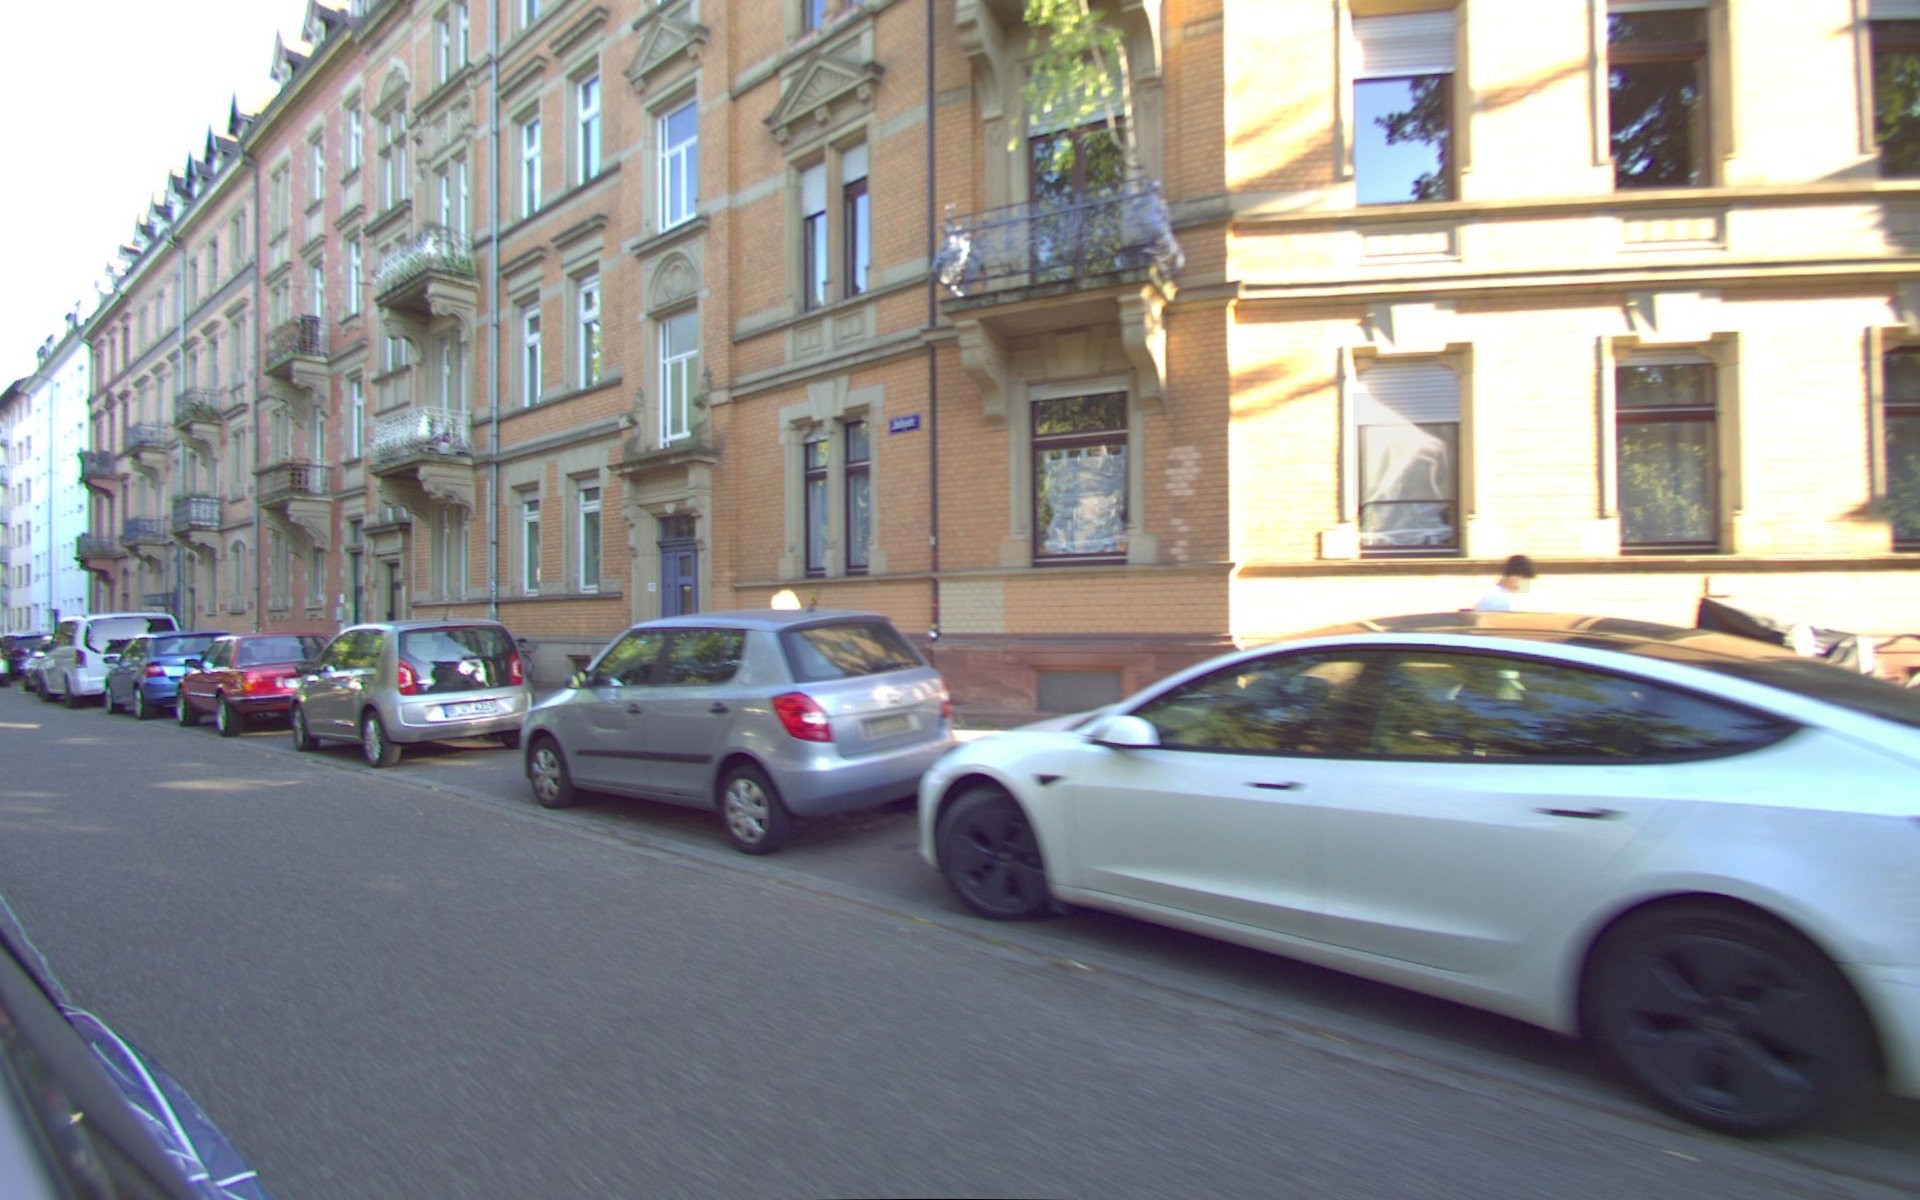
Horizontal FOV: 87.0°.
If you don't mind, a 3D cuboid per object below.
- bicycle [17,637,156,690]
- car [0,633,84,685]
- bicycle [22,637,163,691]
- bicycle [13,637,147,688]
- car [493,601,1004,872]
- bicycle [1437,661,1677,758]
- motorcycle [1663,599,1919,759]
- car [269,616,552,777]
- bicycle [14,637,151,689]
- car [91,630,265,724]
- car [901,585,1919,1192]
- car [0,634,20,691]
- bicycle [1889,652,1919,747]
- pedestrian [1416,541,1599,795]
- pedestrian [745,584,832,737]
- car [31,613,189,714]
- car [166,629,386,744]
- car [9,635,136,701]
[{"bbox_3d":[-25.765,1.849,29.928,0.817,1.496,3.003,-2,-3,41],"label":"bicycle"},{"bbox_3d":[-29.448,1.831,32.122,4.390,1.452,1.856,-2,0,41],"label":"car"},{"bbox_3d":[-25.112,1.827,29.363,0.817,1.496,3.003,-2,-3,41],"label":"bicycle"},{"bbox_3d":[-27.027,1.892,31.136,0.817,1.496,3.003,-2,-3,41],"label":"bicycle"},{"bbox_3d":[-1.737,0.825,7.571,3.878,1.486,1.667,-2,0,40],"label":"car"},{"bbox_3d":[5.647,1.034,9.648,1.875,0.854,0.524,-1,-2,6],"label":"bicycle"},{"bbox_3d":[7.697,0.705,9.244,1.875,1.363,0.808,-1,-2,6],"label":"motorcycle"},{"bbox_3d":[-6.351,0.984,11.535,3.708,1.486,1.666,-2,0,42],"label":"car"},{"bbox_3d":[-26.416,1.871,30.529,0.817,1.496,3.003,-2,-3,41],"label":"bicycle"},{"bbox_3d":[-14.160,1.320,18.253,3.886,1.449,1.745,-2,0,41],"label":"car"},{"bbox_3d":[1.874,0.752,4.197,4.271,1.486,1.756,-2,0,44],"label":"car"},{"bbox_3d":[-28.344,1.800,28.820,4.390,1.548,1.856,-2,0,41],"label":"car"},{"bbox_3d":[9.705,0.895,9.197,1.875,0.854,0.524,-1,-2,6],"label":"bicycle"},{"bbox_3d":[3.983,0.466,7.397,0.897,1.731,0.677,-2,0,-13],"label":"pedestrian"},{"bbox_3d":[-2.041,0.696,12.046,0.722,1.731,0.666,-2,0,42],"label":"pedestrian"},{"bbox_3d":[-18.459,1.308,21.893,4.723,1.897,1.887,-2,0,41],"label":"car"},{"bbox_3d":[-10.255,1.188,15.042,4.289,1.394,1.744,-2,0,42],"label":"car"},{"bbox_3d":[-22.669,1.673,25.789,4.390,1.452,1.856,-2,0,41],"label":"car"}]
